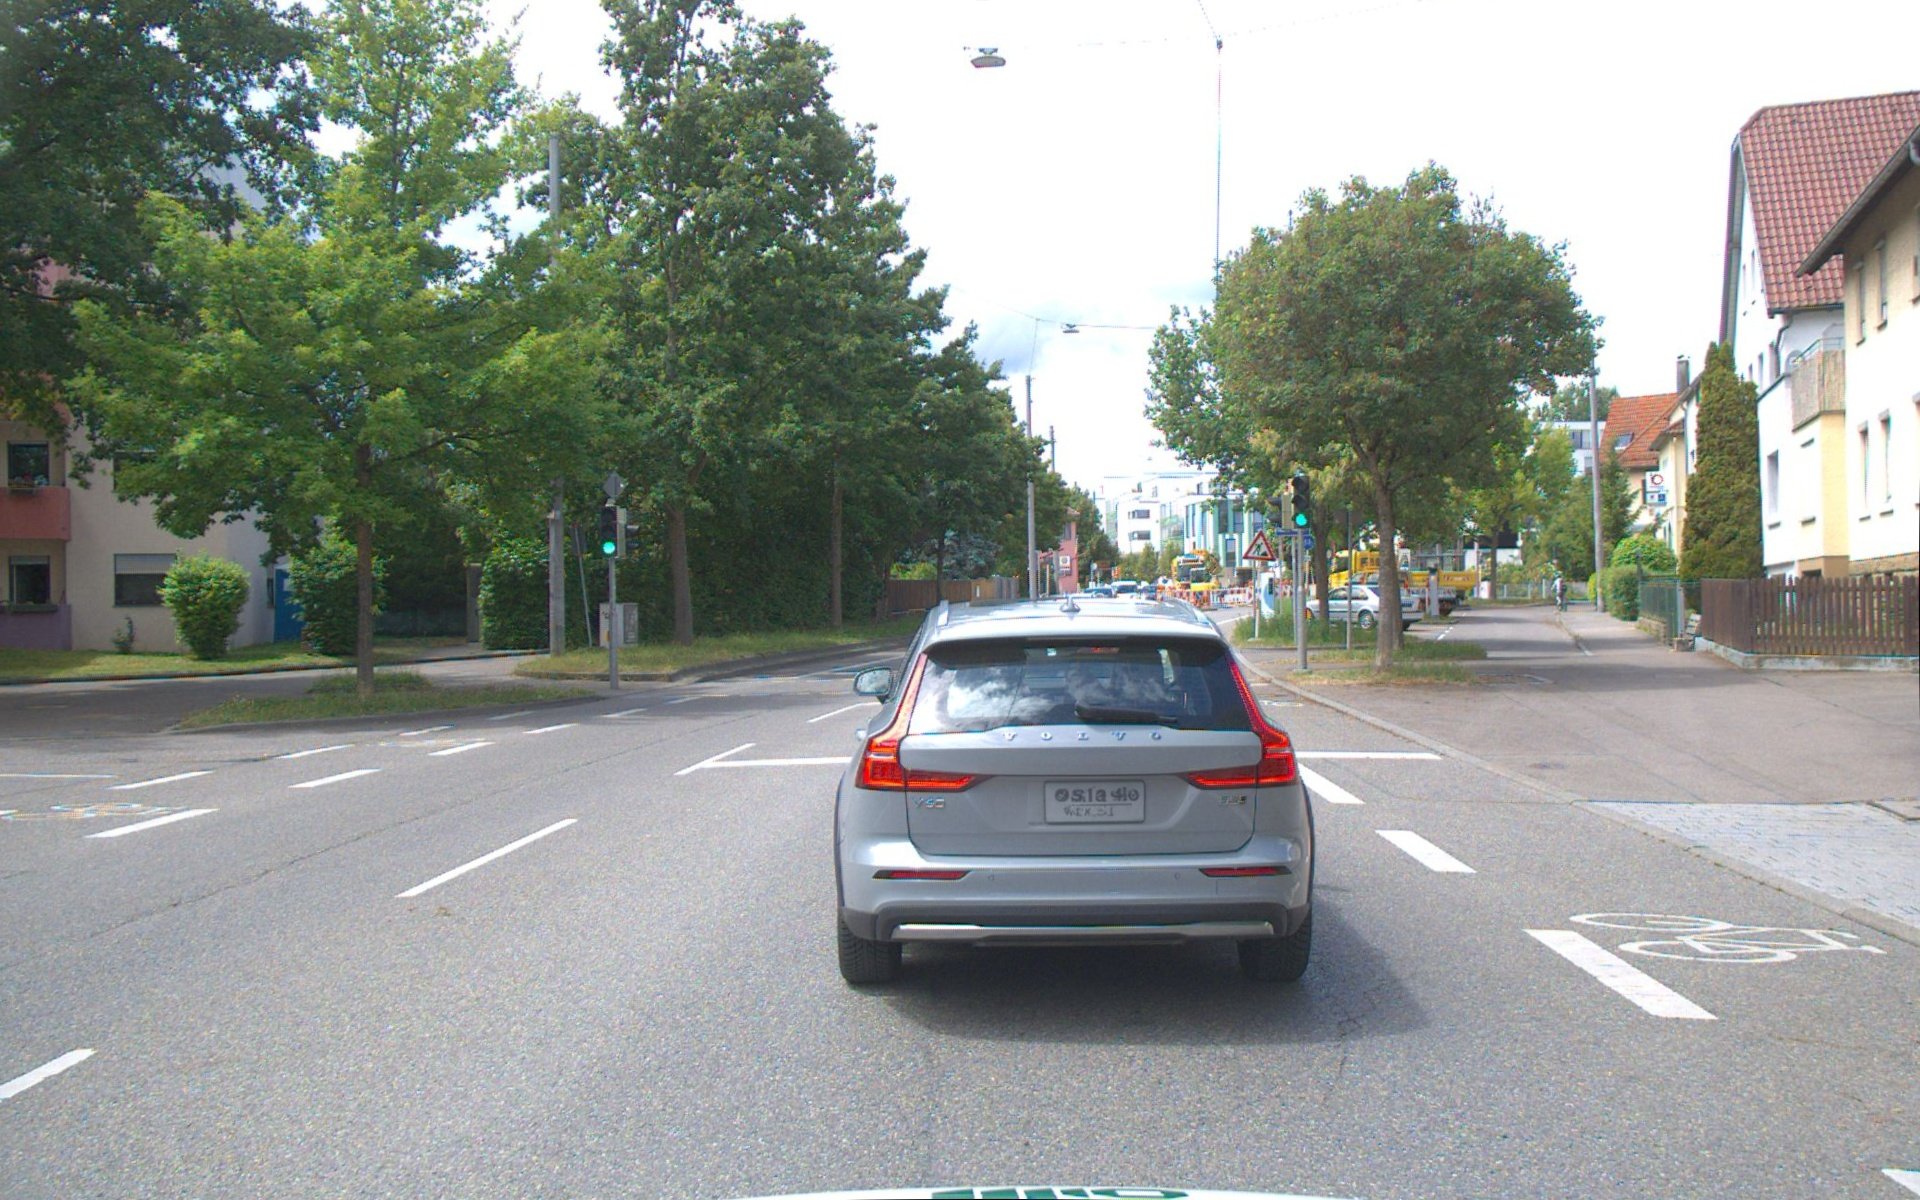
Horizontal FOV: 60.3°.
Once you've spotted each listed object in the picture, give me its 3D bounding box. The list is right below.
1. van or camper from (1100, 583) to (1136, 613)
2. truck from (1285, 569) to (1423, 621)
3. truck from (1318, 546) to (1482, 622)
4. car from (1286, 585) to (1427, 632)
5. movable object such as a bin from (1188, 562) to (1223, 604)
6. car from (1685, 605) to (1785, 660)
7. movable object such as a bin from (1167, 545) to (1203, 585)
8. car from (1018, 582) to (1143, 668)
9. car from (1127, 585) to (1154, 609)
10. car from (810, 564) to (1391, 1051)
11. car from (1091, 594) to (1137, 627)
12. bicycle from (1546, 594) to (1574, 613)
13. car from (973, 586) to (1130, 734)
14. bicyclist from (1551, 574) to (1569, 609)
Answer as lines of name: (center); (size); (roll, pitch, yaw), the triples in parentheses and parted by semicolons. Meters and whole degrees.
van or camper: (9.643, -0.138, 100.738); (1.821, 1.807, 4.384); (-1, 0, 9)
truck: (16.388, -0.215, 69.041); (1.980, 2.049, 5.598); (2, -1, -39)
truck: (18.755, -0.661, 70.810); (2.737, 3.061, 6.626); (2, -1, -34)
car: (12.981, 0.245, 54.360); (1.745, 1.477, 4.637); (-1, 1, -32)
movable object such as a bin: (16.281, -1.133, 109.380); (1.991, 2.689, 5.945); (-2, 0, 11)
car: (17.463, 0.713, 37.402); (1.431, 1.144, 3.874); (1, -1, 16)
movable object such as a bin: (18.015, -2.743, 132.726); (2.262, 3.042, 6.429); (-2, 0, 3)
car: (2.447, 0.481, 32.662); (2.057, 1.536, 4.003); (1, -1, 10)
car: (13.859, -0.209, 127.087); (1.951, 1.768, 4.002); (1, -1, 6)
car: (0.490, 0.640, 7.425); (1.888, 1.567, 4.001); (-1, 1, 1)
car: (6.929, 0.473, 74.273); (1.789, 1.353, 4.003); (1, -2, 9)
bicycle: (26.944, 0.137, 74.265); (0.582, 0.826, 1.753); (1, 0, -1)
car: (1.040, 0.654, 19.486); (1.627, 1.534, 3.703); (2, -1, 2)
bicyclist: (26.951, -0.381, 74.271); (0.577, 1.586, 0.566); (1, -1, -2)
